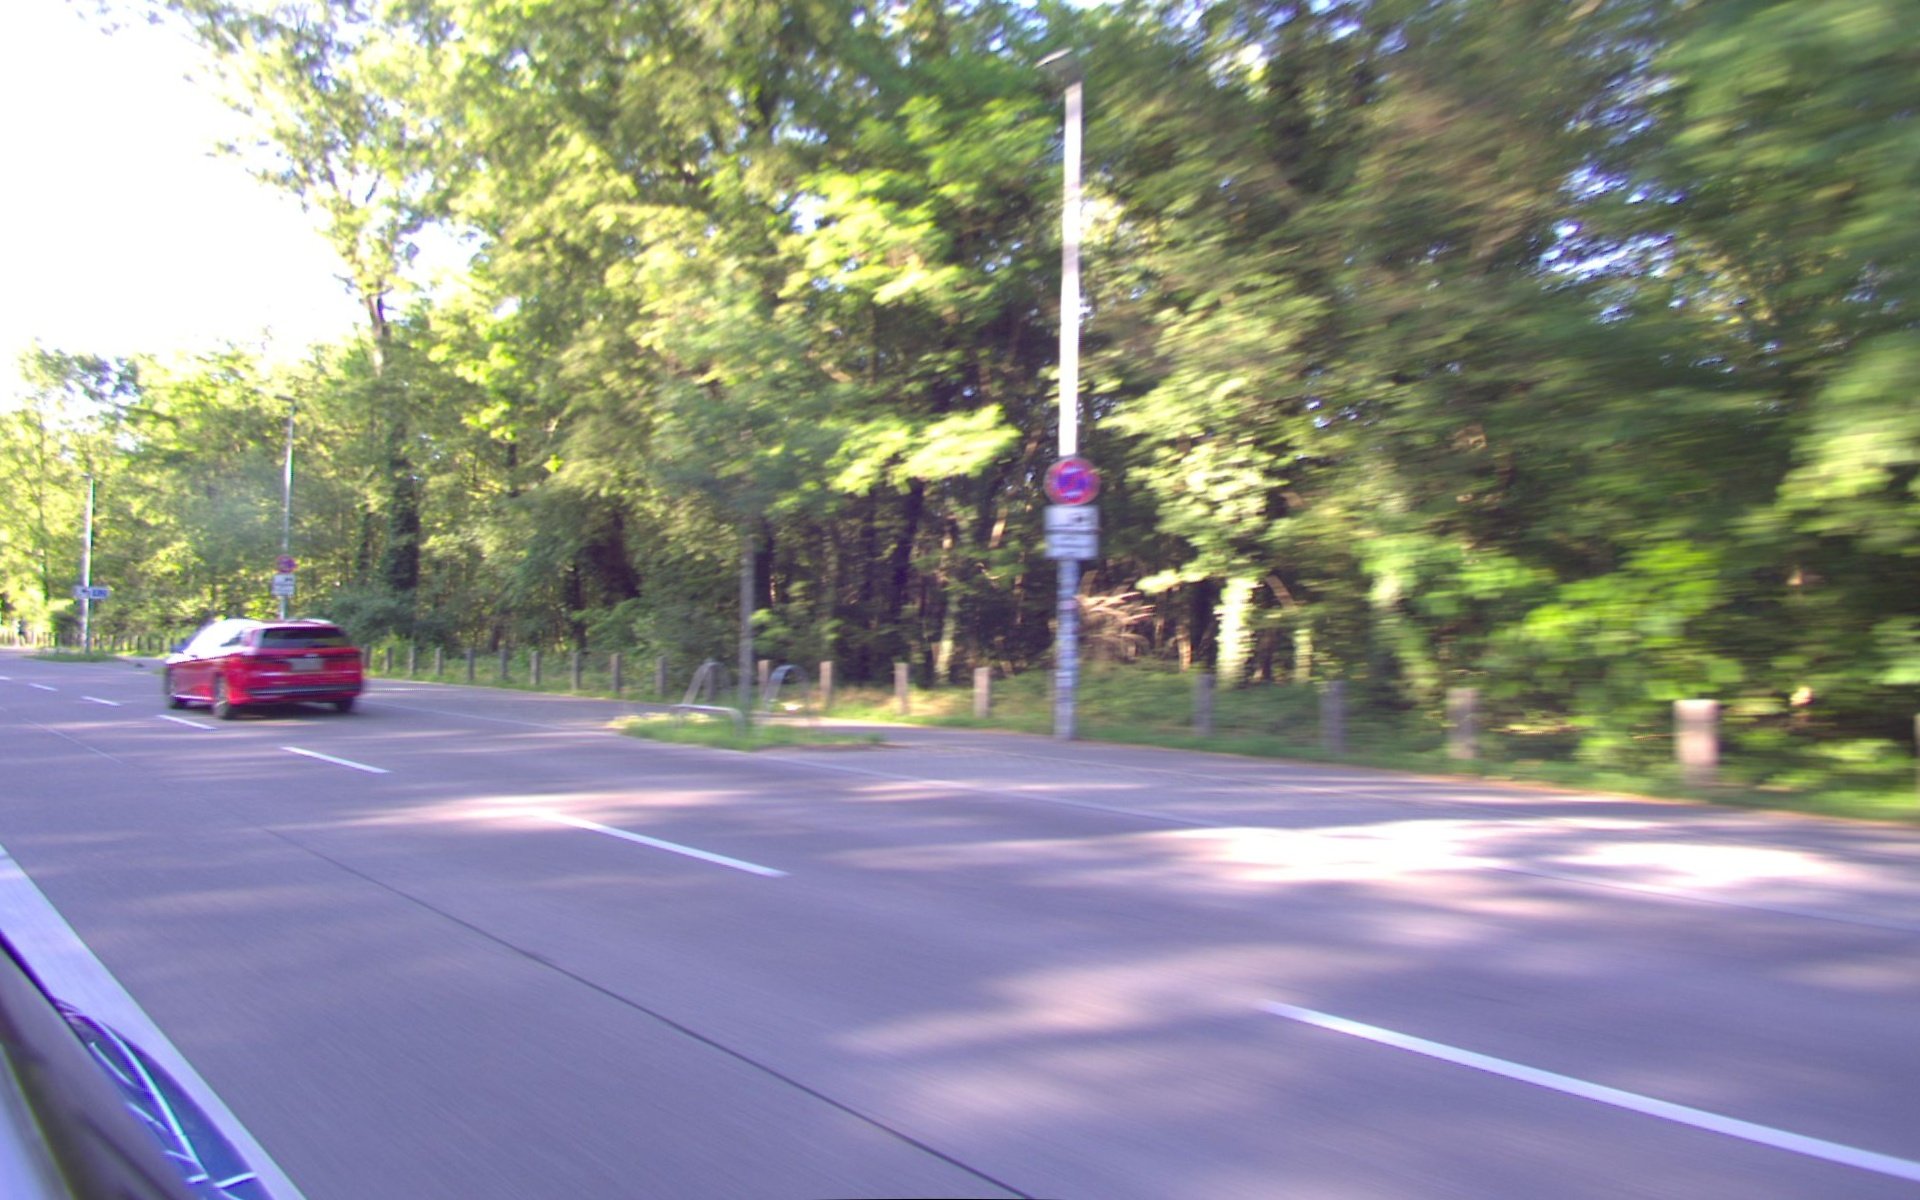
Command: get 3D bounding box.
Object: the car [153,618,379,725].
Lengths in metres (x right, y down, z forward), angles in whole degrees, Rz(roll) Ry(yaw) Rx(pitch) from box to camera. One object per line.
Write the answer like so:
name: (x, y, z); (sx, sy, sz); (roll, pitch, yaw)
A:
car: (-11.260, 1.043, 16.271); (4.922, 1.474, 1.804); (-1, -2, 41)

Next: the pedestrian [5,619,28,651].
pedestrian: (-54.098, 1.997, 58.016); (0.736, 1.781, 0.764); (-1, -3, 34)
